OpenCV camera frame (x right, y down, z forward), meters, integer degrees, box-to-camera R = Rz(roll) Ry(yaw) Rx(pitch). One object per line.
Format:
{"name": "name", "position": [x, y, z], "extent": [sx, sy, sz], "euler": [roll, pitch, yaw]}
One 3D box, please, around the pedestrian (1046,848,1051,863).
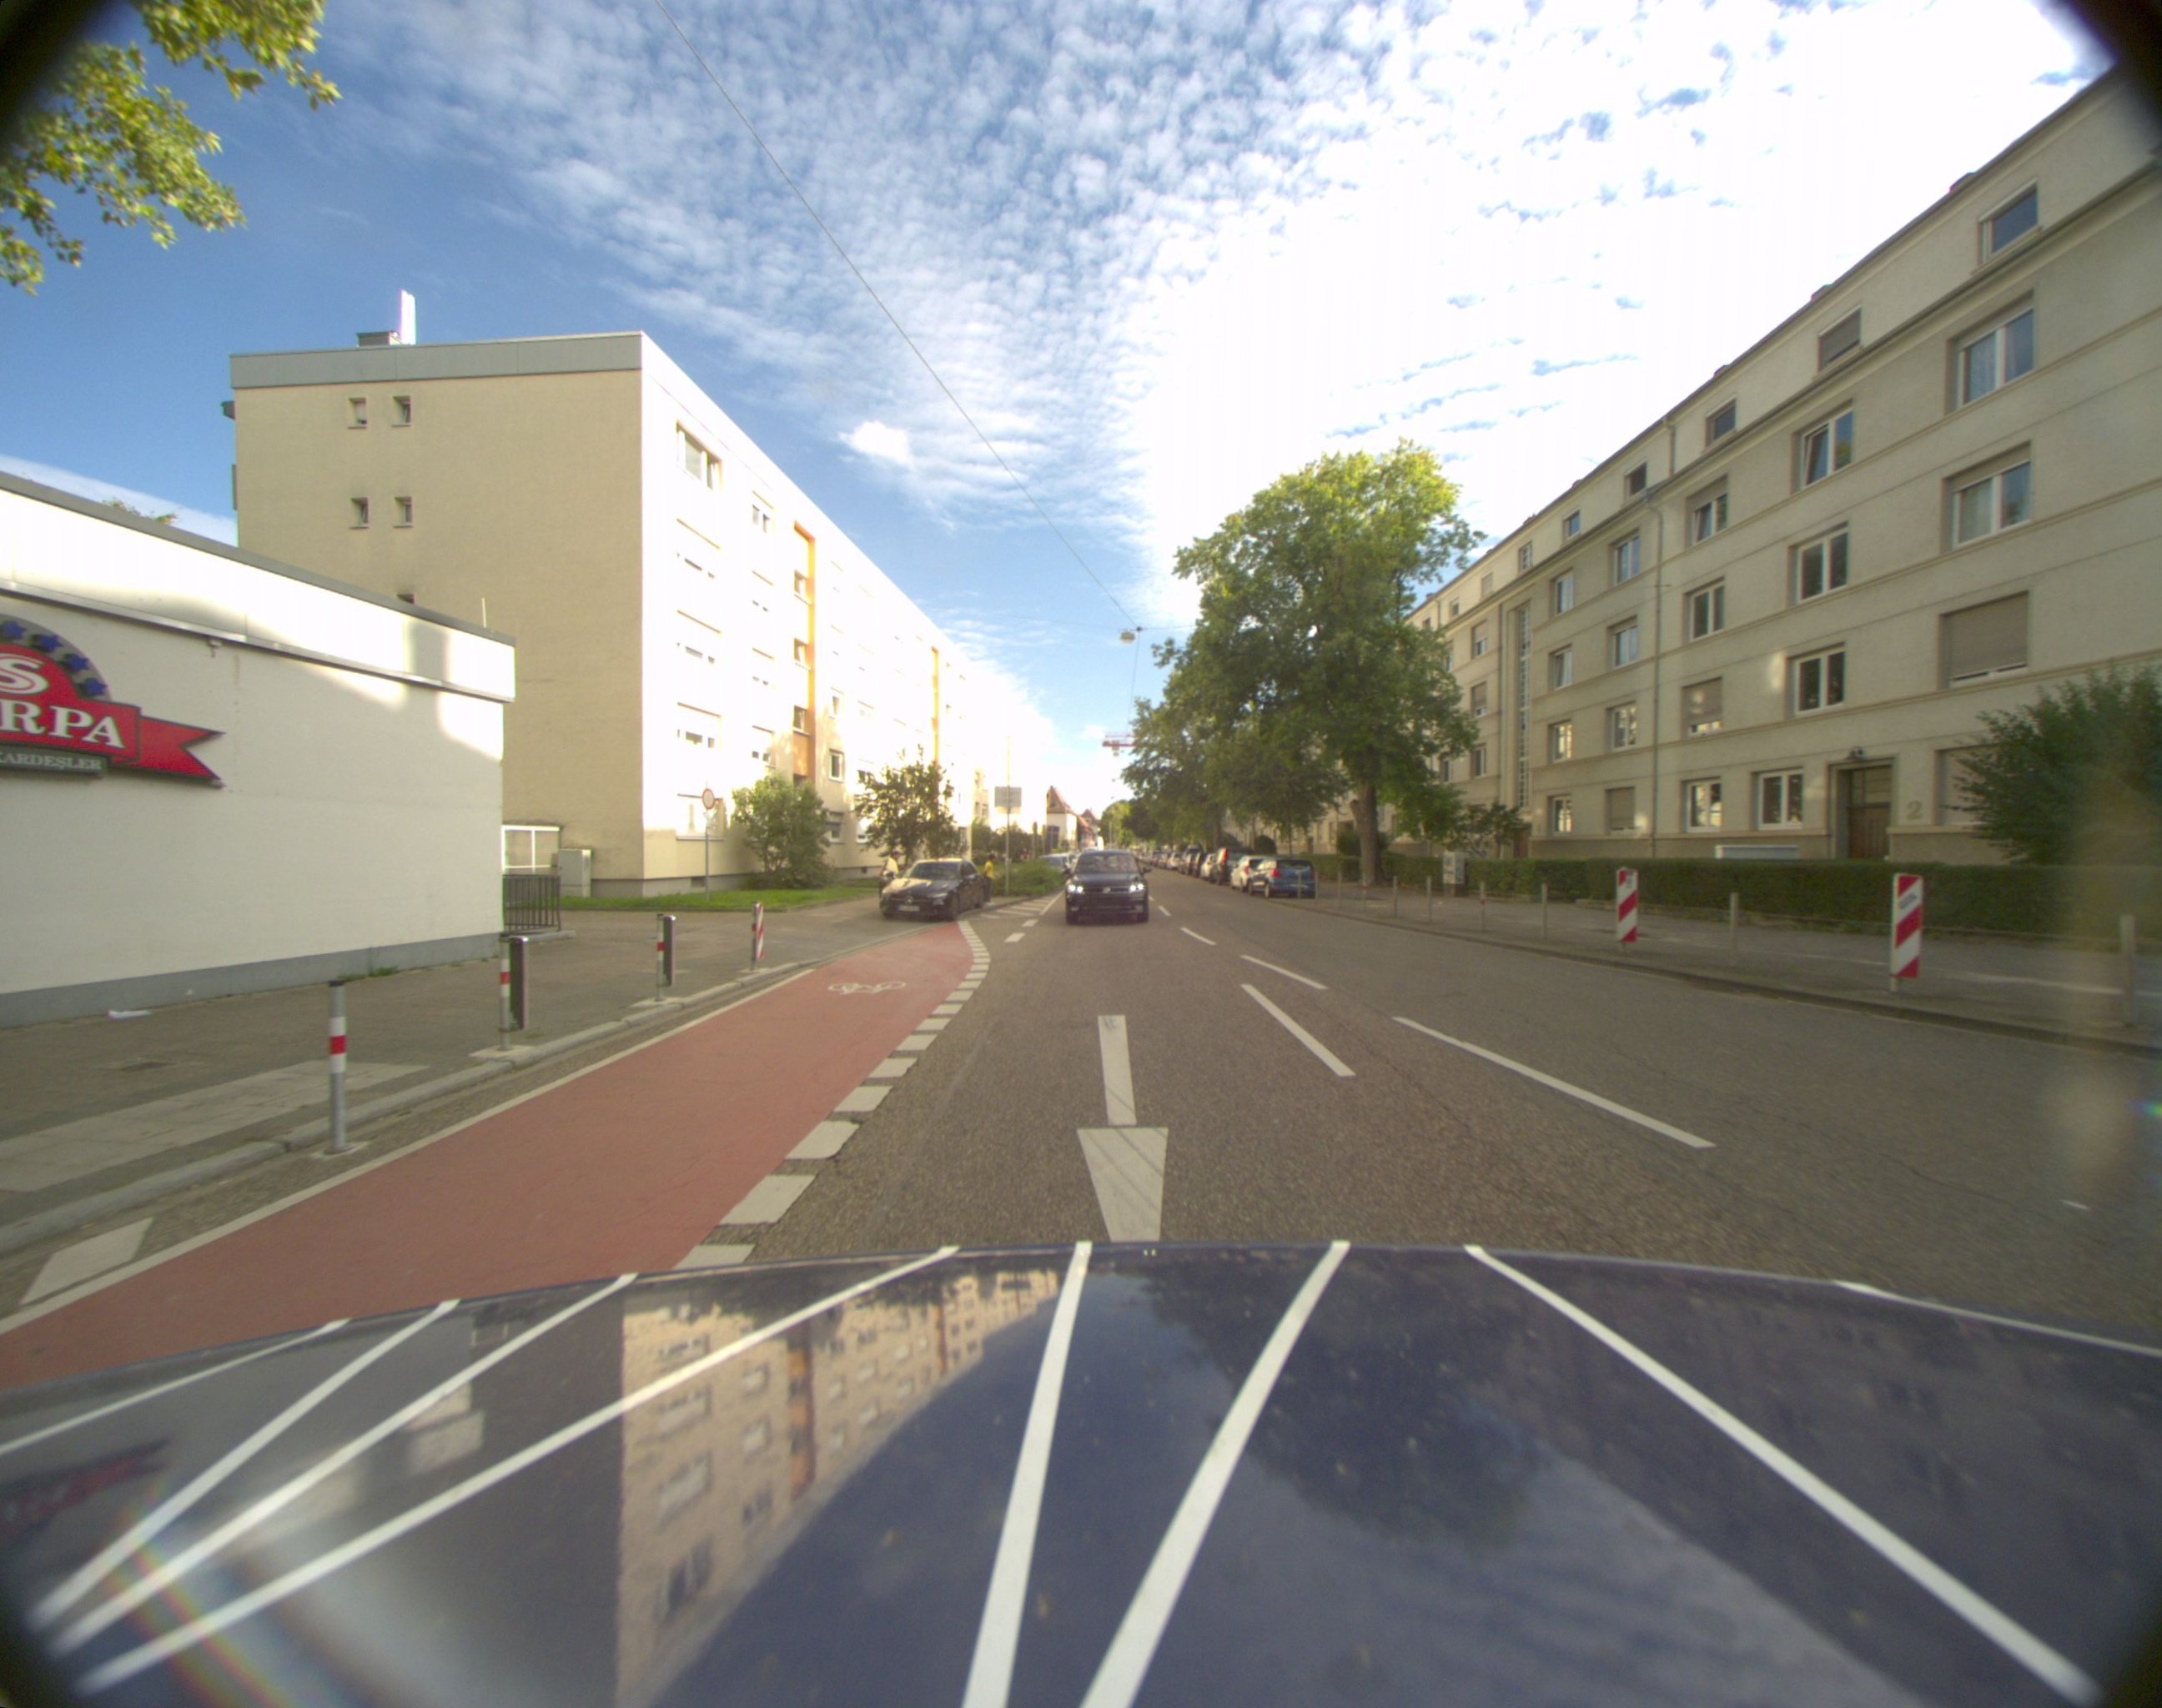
{"name": "pedestrian", "position": [-3.741, 0.210, 87.387], "extent": [0.543, 1.711, 0.772], "euler": [0, 1, 7]}

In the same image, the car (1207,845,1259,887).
{"name": "car", "position": [7.283, 0.526, 36.727], "extent": [1.727, 1.871, 4.192], "euler": [2, 0, 2]}

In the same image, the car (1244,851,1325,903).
{"name": "car", "position": [7.004, 0.755, 26.544], "extent": [1.803, 1.611, 3.802], "euler": [2, 0, 0]}

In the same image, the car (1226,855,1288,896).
{"name": "car", "position": [7.169, 0.839, 31.264], "extent": [1.803, 1.485, 3.803], "euler": [2, 0, 3]}

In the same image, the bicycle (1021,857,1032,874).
{"name": "bicycle", "position": [-3.677, 0.752, 51.540], "extent": [0.525, 1.128, 1.929], "euler": [0, 1, 1]}

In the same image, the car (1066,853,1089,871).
{"name": "car", "position": [-0.237, 0.664, 67.278], "extent": [1.732, 1.479, 4.642], "euler": [0, 0, 3]}

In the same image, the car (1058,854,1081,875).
{"name": "car", "position": [-0.881, 0.803, 60.454], "extent": [1.733, 1.571, 4.117], "euler": [0, 0, 0]}

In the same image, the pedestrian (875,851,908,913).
{"name": "pedestrian", "position": [-5.086, 0.732, 20.459], "extent": [0.654, 1.636, 0.743], "euler": [-1, 1, 2]}

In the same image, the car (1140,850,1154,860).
{"name": "car", "position": [10.508, 0.089, 121.139], "extent": [1.859, 1.477, 4.798], "euler": [3, 1, 2]}

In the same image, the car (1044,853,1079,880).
{"name": "car", "position": [-1.139, 0.735, 46.567], "extent": [1.693, 1.519, 4.239], "euler": [-1, 0, 5]}

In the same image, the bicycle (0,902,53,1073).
{"name": "bicycle", "position": [-8.239, 0.980, 4.868], "extent": [0.770, 1.199, 1.816], "euler": [3, 1, 5]}

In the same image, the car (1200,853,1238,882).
{"name": "car", "position": [7.549, 0.703, 41.880], "extent": [1.698, 1.484, 4.334], "euler": [1, 0, 5]}

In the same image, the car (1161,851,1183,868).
{"name": "car", "position": [8.248, 0.463, 69.072], "extent": [1.618, 1.460, 4.014], "euler": [1, 0, 2]}

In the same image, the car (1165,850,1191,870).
{"name": "car", "position": [8.244, 0.473, 64.621], "extent": [1.743, 1.611, 3.994], "euler": [0, 0, 1]}

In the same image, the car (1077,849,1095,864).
{"name": "car", "position": [0.498, 0.203, 76.867], "extent": [1.733, 1.452, 4.116], "euler": [1, 1, 1]}

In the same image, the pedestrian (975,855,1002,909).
{"name": "pedestrian", "position": [-2.702, 0.813, 22.332], "extent": [0.654, 1.530, 0.743], "euler": [1, 1, 2]}

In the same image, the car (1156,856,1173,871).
{"name": "car", "position": [8.755, 0.963, 79.944], "extent": [1.689, 1.472, 4.453], "euler": [3, 1, 5]}

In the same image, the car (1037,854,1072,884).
{"name": "car", "position": [-1.367, 0.750, 40.728], "extent": [1.694, 1.519, 4.237], "euler": [0, 0, 1]}

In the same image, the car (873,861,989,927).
{"name": "car", "position": [-3.718, 0.937, 19.643], "extent": [1.764, 1.403, 4.234], "euler": [1, 1, 6]}

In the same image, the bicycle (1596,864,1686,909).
{"name": "bicycle", "position": [14.363, 0.834, 19.503], "extent": [1.872, 1.125, 0.598], "euler": [0, 1, -1]}

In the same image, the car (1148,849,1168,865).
{"name": "car", "position": [9.110, 0.344, 90.537], "extent": [1.881, 1.782, 4.970], "euler": [2, 0, 1]}

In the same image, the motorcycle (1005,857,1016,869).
{"name": "motorcycle", "position": [-6.029, 0.754, 65.207], "extent": [0.632, 1.038, 2.394], "euler": [1, 0, 1]}

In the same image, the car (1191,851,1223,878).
{"name": "car", "position": [7.659, 0.606, 46.267], "extent": [1.556, 1.511, 3.017], "euler": [2, 0, 3]}

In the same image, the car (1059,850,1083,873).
{"name": "car", "position": [-0.688, 0.494, 53.704], "extent": [1.555, 1.548, 3.468], "euler": [0, 0, 2]}

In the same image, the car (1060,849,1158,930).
{"name": "car", "position": [0.783, 0.743, 17.968], "extent": [1.858, 1.673, 4.002], "euler": [-1, 0, 9]}

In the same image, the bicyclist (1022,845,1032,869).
{"name": "bicyclist", "position": [-3.654, 0.199, 51.564], "extent": [0.625, 1.668, 0.893], "euler": [0, 1, 1]}

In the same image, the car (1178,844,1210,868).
{"name": "car", "position": [8.230, 0.125, 55.727], "extent": [1.803, 1.658, 4.483], "euler": [2, 0, 3]}

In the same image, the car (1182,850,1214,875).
{"name": "car", "position": [7.695, 0.528, 50.196], "extent": [1.704, 1.478, 3.848], "euler": [2, 0, 3]}
